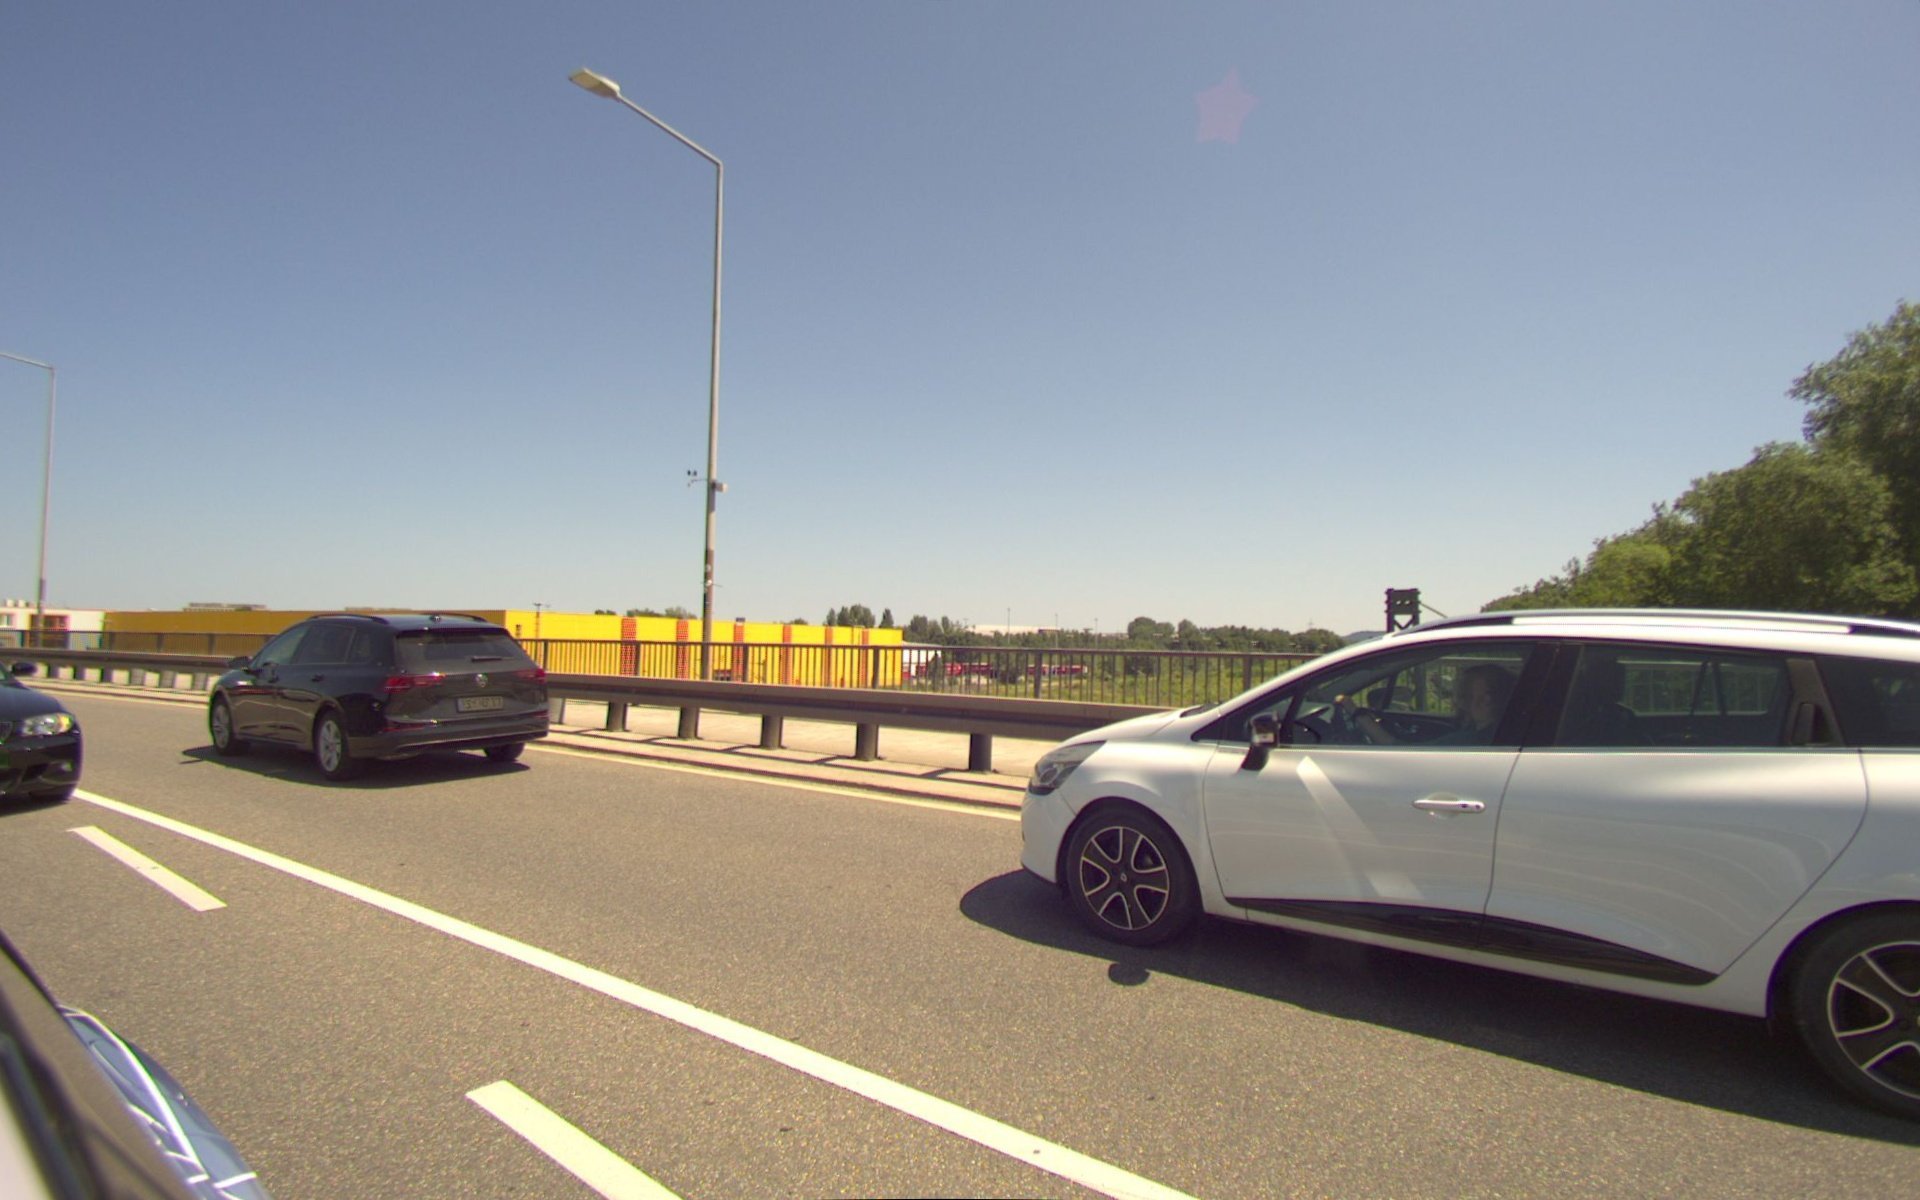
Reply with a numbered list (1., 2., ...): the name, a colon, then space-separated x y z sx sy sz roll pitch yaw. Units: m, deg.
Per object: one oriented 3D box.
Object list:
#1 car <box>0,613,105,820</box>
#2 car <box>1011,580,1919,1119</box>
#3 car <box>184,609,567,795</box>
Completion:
1. car: -8.815 0.845 8.228 4.513 1.466 1.774 -1 -1 35
2. car: 2.295 0.696 4.025 4.051 1.460 1.583 -1 -1 39
3. car: -5.940 0.850 10.081 4.452 1.480 1.694 -1 -1 37
